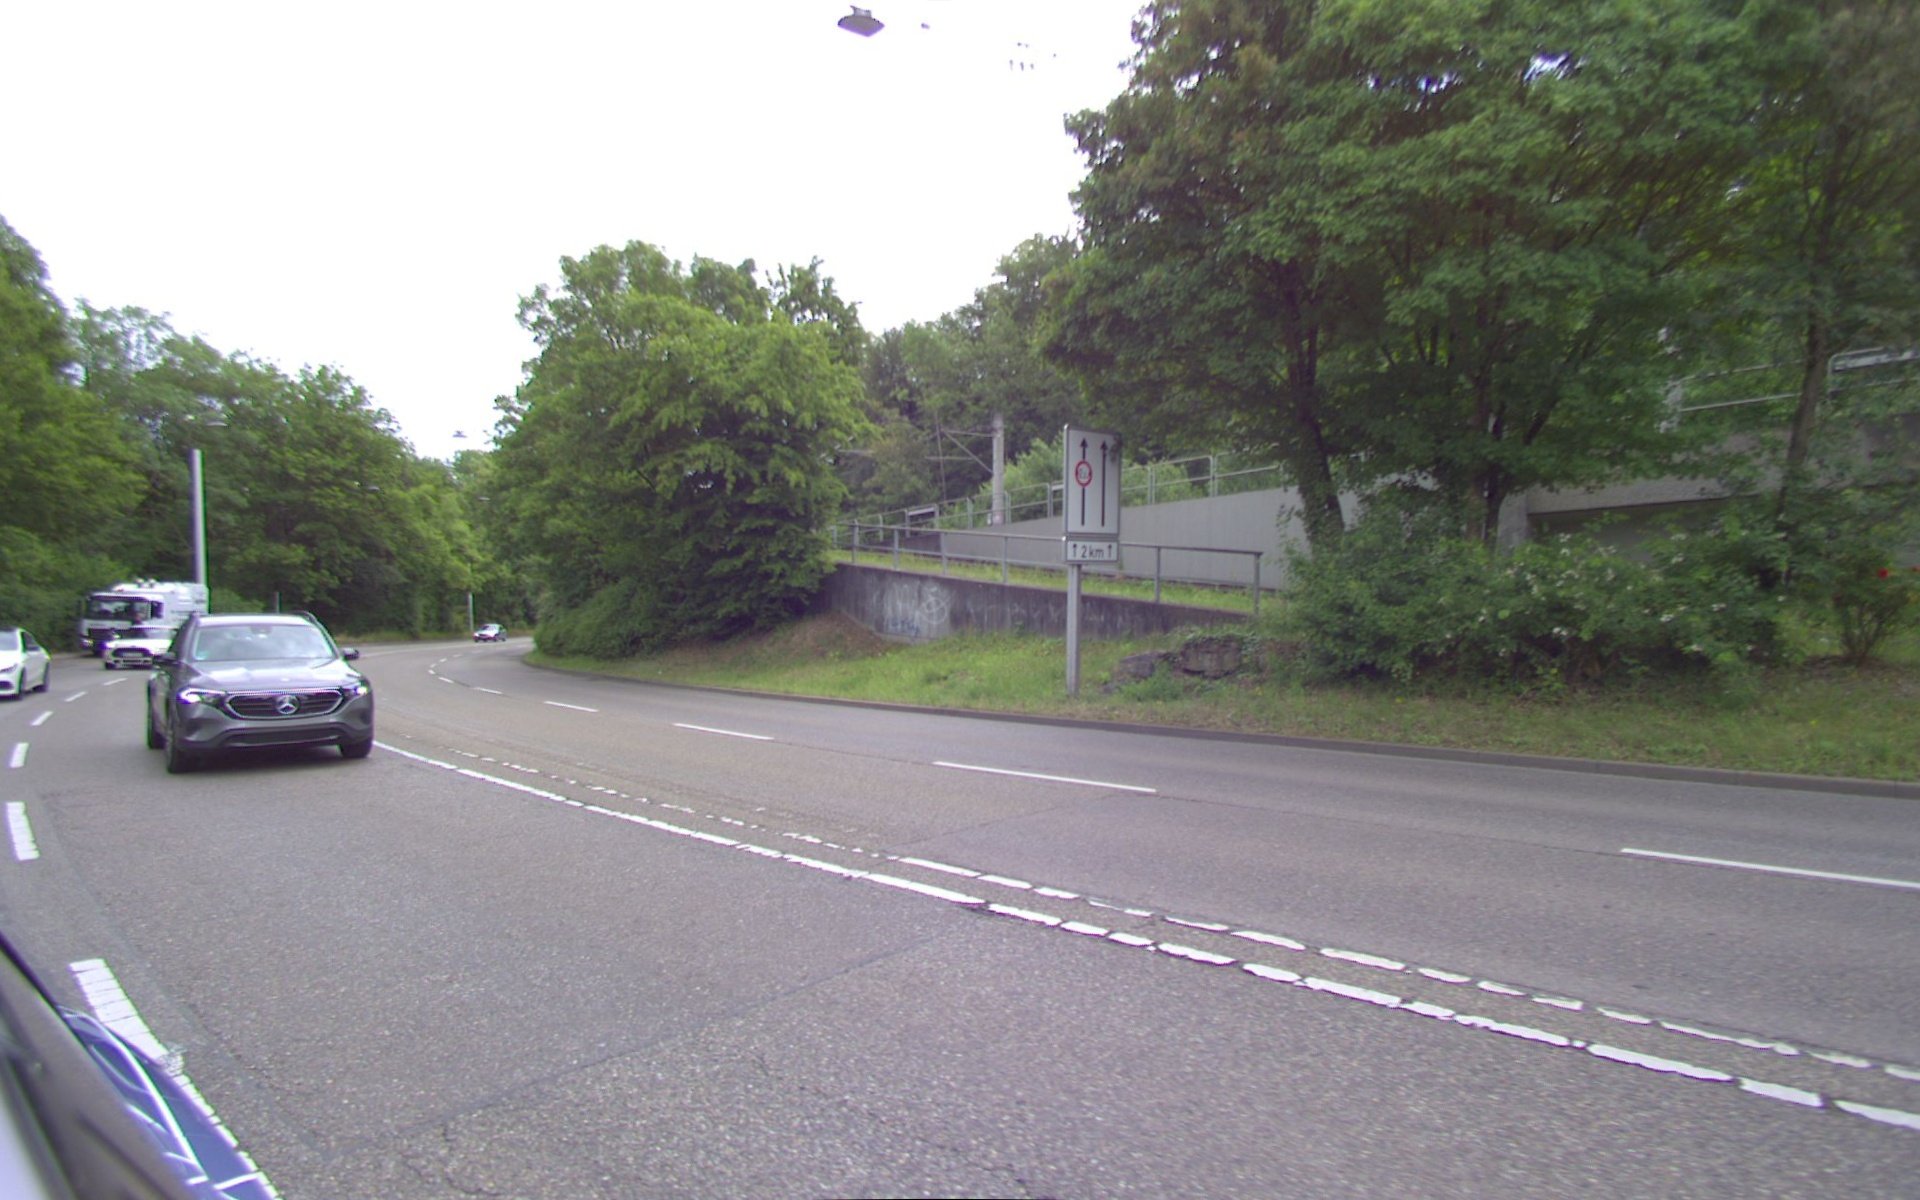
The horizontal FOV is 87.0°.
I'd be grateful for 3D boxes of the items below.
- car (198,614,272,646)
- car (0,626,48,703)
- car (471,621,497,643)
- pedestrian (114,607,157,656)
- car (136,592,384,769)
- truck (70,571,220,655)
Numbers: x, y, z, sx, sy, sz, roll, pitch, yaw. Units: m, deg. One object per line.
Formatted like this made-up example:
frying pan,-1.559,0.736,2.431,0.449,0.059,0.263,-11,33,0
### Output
car,-37.001,1.515,51.768,1.778,1.536,4.011,-1,-1,-15
car,-19.469,1.202,19.732,1.866,1.306,4.339,2,-2,-34
car,-37.718,2.520,80.277,1.669,1.594,4.013,-2,-1,-23
pedestrian,-32.219,1.222,39.551,0.904,1.848,0.987,3,-3,-17
car,-8.272,0.796,11.796,1.844,1.675,4.198,2,-2,-42
truck,-34.431,0.554,43.088,2.448,3.206,7.250,-2,-1,-17
